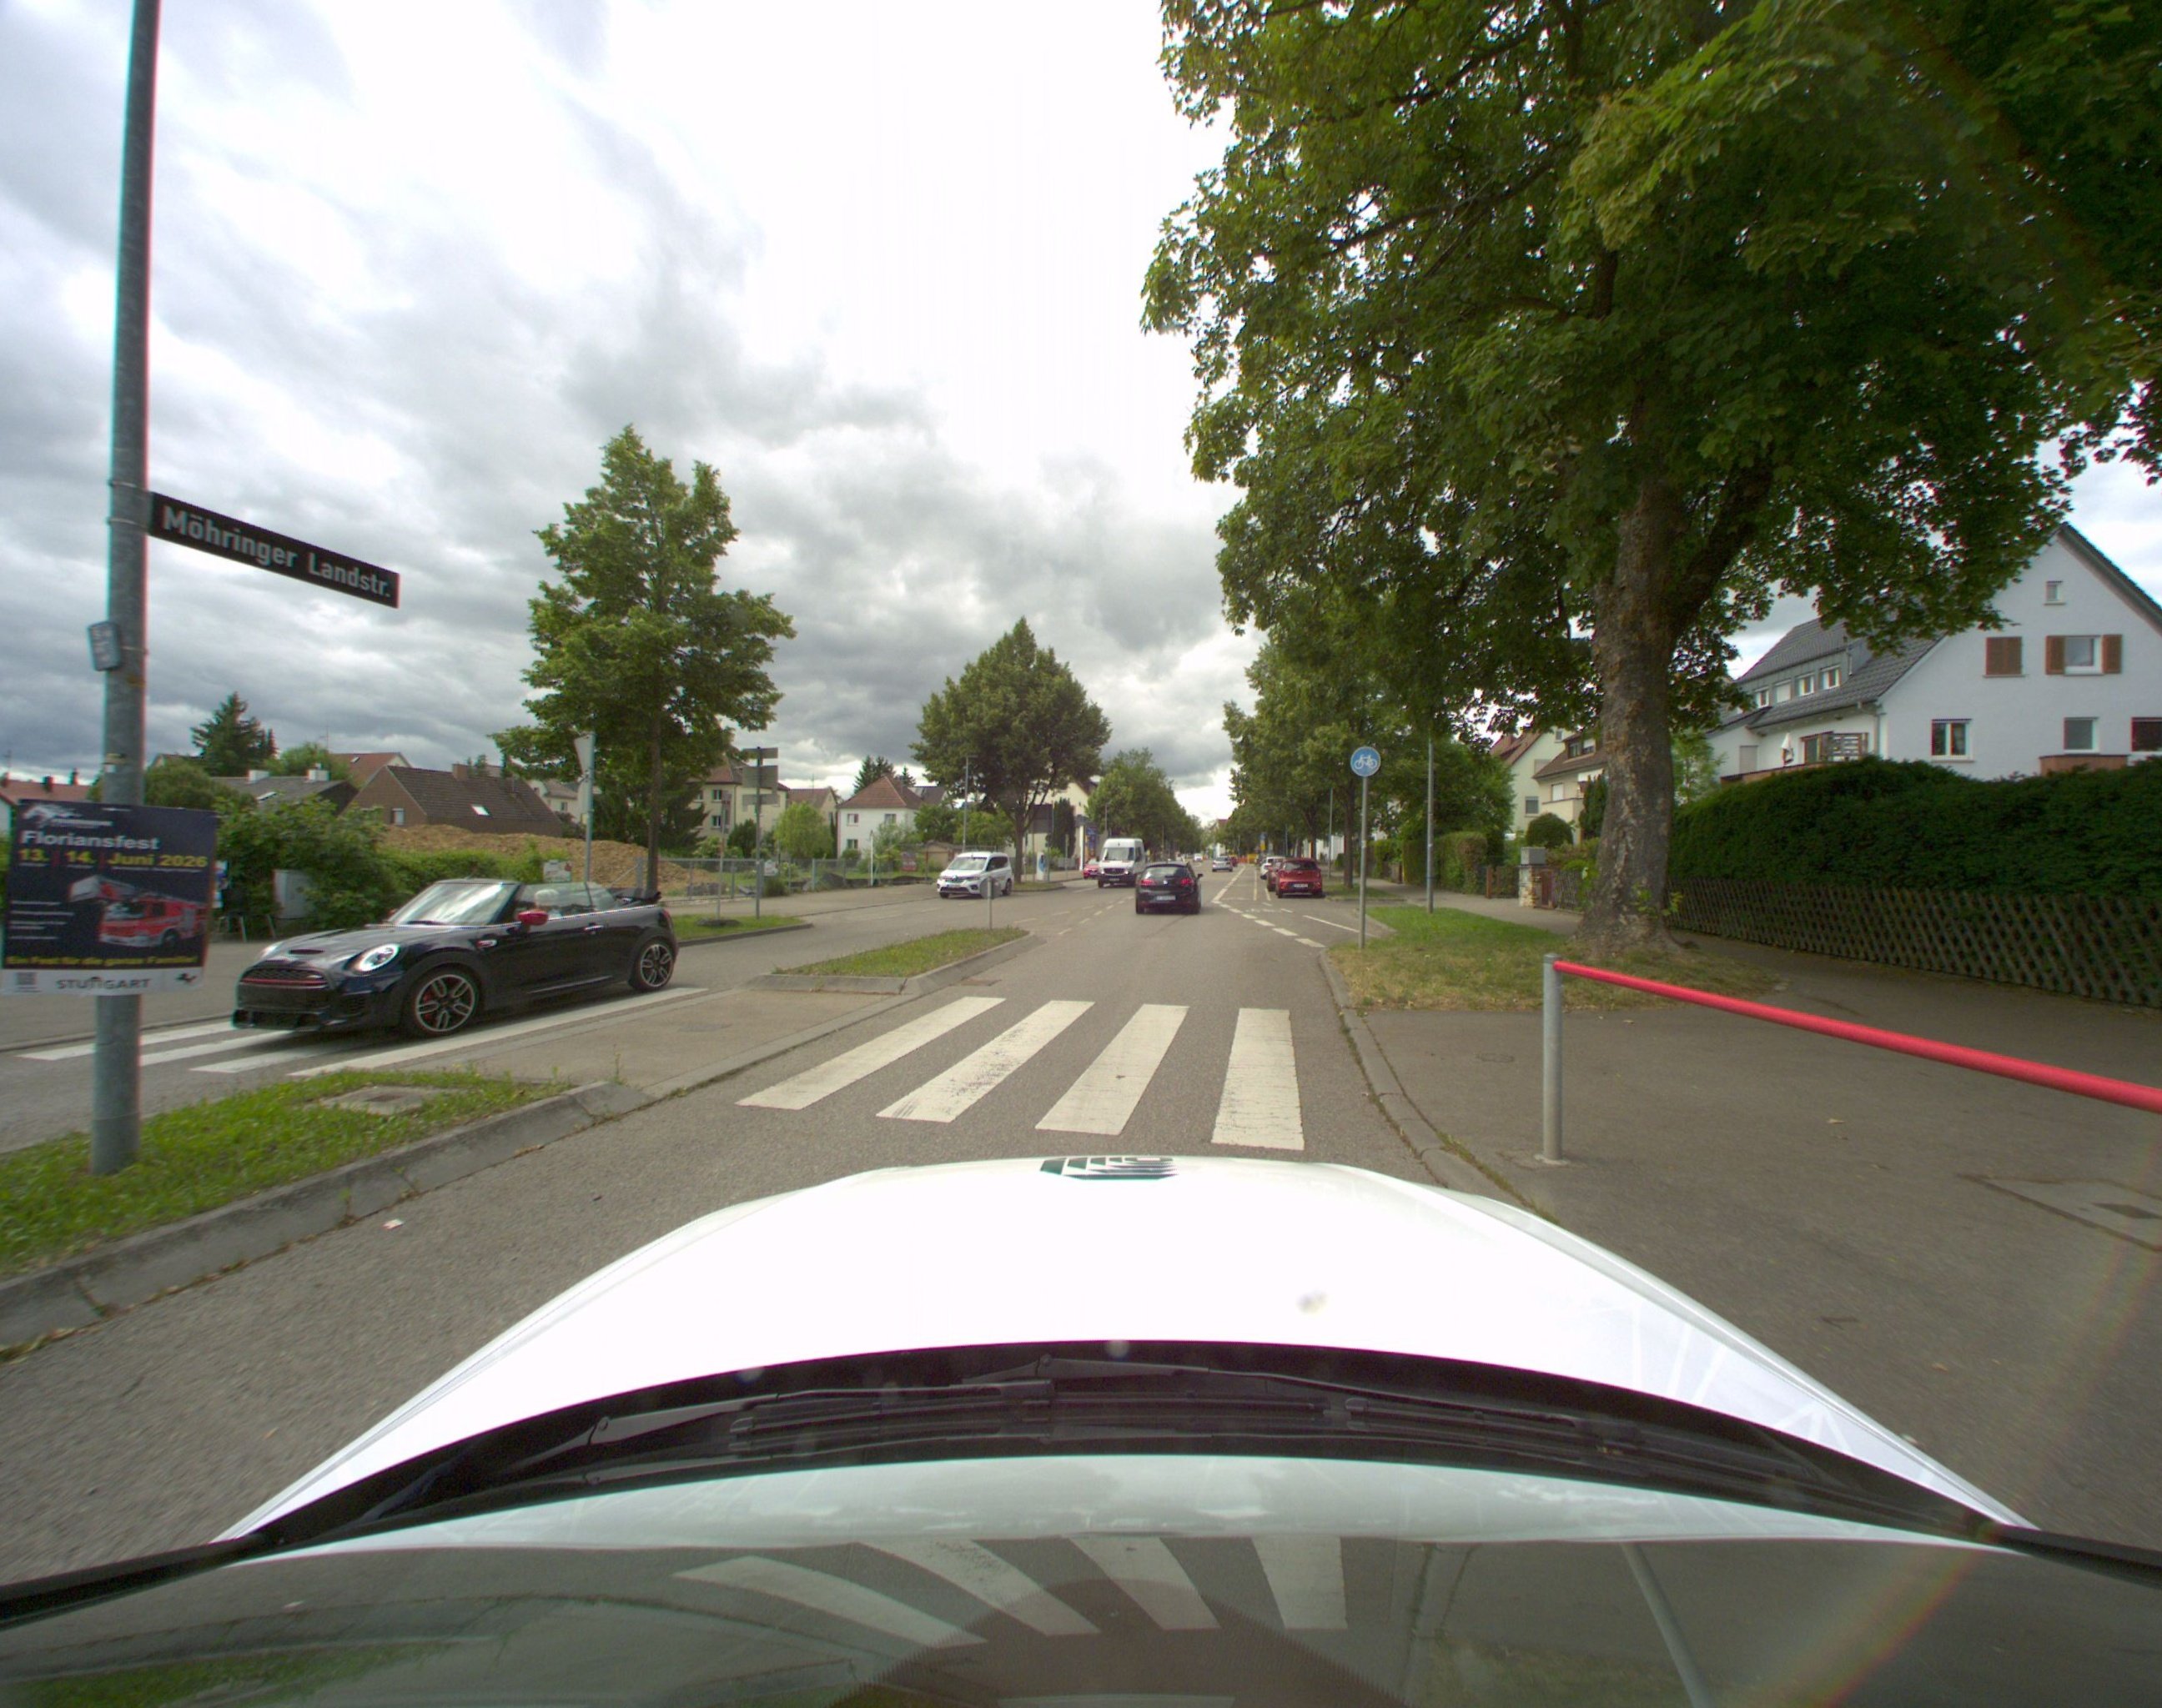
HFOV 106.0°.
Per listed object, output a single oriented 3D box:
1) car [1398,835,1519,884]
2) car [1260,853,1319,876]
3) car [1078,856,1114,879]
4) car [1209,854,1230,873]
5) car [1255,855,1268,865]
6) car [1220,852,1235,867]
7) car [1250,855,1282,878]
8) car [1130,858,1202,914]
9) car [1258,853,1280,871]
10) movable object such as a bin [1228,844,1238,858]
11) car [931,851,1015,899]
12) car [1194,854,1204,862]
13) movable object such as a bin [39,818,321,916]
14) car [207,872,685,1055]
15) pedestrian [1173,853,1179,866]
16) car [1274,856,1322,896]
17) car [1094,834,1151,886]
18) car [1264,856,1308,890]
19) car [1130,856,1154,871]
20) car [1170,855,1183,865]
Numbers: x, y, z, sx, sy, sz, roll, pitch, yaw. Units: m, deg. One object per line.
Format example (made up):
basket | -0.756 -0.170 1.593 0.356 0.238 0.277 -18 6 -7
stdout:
car | 20.483 0.265 44.377 5.683 2.591 2.002 0 1 7
car | 15.904 0.822 62.312 4.195 1.638 1.696 -1 0 6
car | 1.104 0.919 58.223 1.673 1.541 4.147 0 0 13
car | 13.262 0.904 77.983 1.894 1.685 3.749 -1 0 9
car | 27.173 0.825 122.898 1.695 1.454 4.630 -1 0 10
car | 19.585 0.729 109.144 1.896 1.882 4.010 0 0 8
car | 12.057 0.781 53.216 1.794 1.475 4.825 0 0 10
car | 2.515 0.846 23.280 1.808 1.437 3.749 -1 0 9
car | 17.204 0.695 74.574 1.711 1.580 4.072 0 0 9
movable object such as a bin | 29.005 -0.510 155.693 1.758 2.574 3.749 0 0 9
car | -4.207 0.762 32.533 1.758 1.770 4.568 0 0 13
car | 26.395 0.906 182.544 1.953 1.830 4.834 0 0 11
movable object such as a bin | -22.284 0.289 20.451 1.884 2.188 4.374 0 0 10
car | -6.139 0.918 8.495 1.562 1.362 3.756 0 0 13
pedestrian | 12.804 0.738 109.756 0.538 1.681 0.754 1 1 20
car | 8.224 0.819 31.096 1.555 1.455 3.680 0 -1 11
car | 2.348 0.304 44.295 2.005 2.674 5.827 0 0 14
car | 9.147 0.807 36.574 1.642 1.416 4.189 -1 0 10
car | 6.050 0.912 80.432 1.719 1.469 4.316 -1 0 13
car | 13.828 0.883 117.561 1.632 1.420 4.032 -1 0 10
